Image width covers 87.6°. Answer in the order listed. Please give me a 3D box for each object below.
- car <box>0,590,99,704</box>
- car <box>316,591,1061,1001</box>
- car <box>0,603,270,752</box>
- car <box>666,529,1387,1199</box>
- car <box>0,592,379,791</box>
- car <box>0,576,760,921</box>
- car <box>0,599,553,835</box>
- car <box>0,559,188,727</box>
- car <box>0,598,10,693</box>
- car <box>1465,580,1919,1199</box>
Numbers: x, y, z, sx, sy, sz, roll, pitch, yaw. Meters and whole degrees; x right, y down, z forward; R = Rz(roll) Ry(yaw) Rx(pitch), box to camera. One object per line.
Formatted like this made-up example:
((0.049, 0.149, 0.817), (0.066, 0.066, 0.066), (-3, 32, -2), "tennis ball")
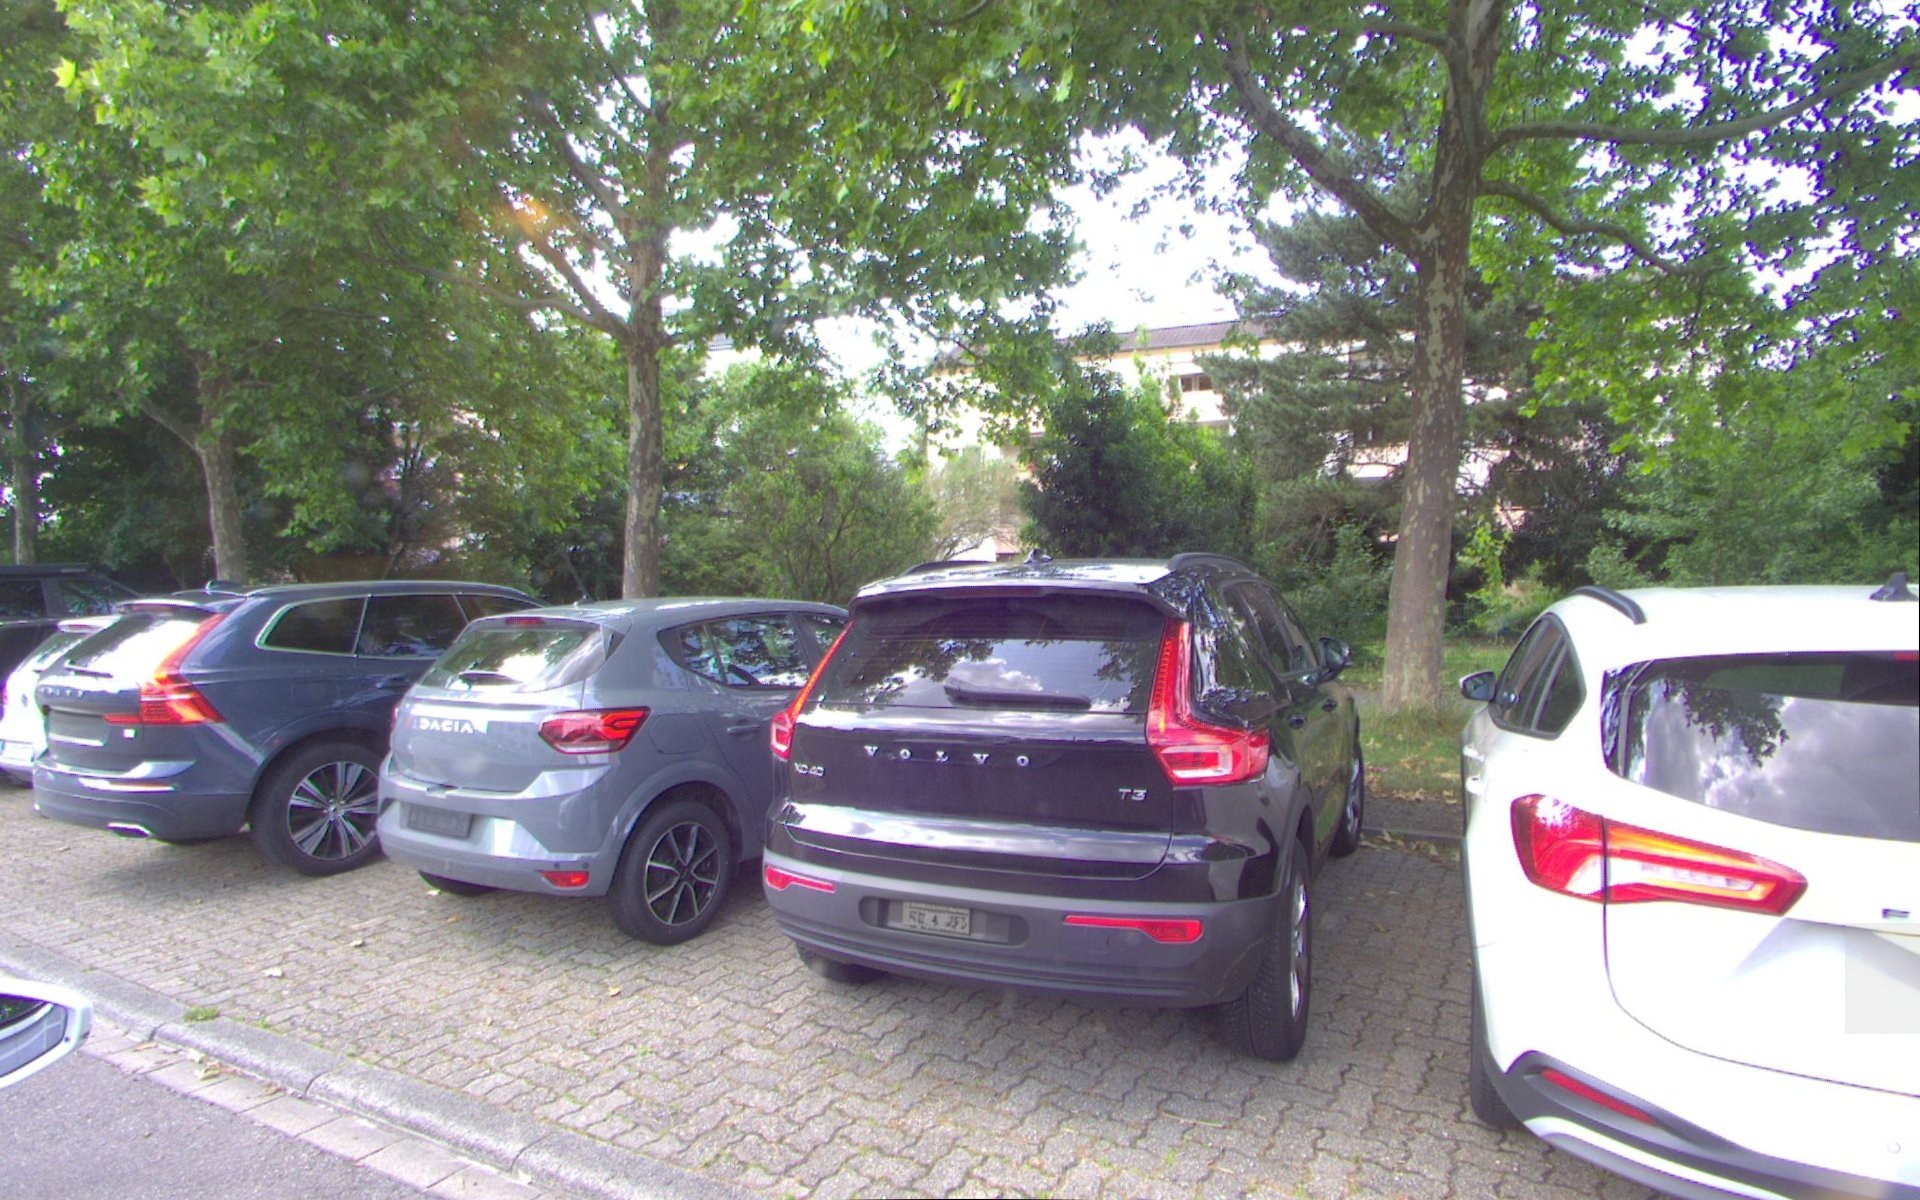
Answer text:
((-16.421, 0.761, 15.326), (1.828, 1.790, 4.538), (0, 1, 30), "car")
((-1.132, 0.728, 6.103), (1.731, 1.521, 4.371), (0, 1, 32), "car")
((-10.575, 0.845, 11.533), (1.730, 1.514, 3.959), (-1, 1, 30), "car")
((0.927, 0.623, 4.856), (1.818, 1.648, 4.655), (0, 1, 27), "car")
((-8.236, 0.754, 10.035), (1.725, 1.627, 3.969), (0, 1, 20), "car")
((-3.595, 0.686, 7.116), (1.731, 1.661, 4.371), (0, 1, 32), "car")
((-5.840, 0.788, 8.813), (1.730, 1.514, 3.959), (0, 1, 30), "car")
((-13.225, 0.562, 13.117), (1.828, 2.152, 4.538), (0, 1, 30), "car")
((-18.788, 0.852, 16.226), (1.826, 1.683, 4.543), (0, 1, 26), "car")
((2.843, 0.682, 3.598), (1.818, 1.493, 4.655), (0, 1, 27), "car")
